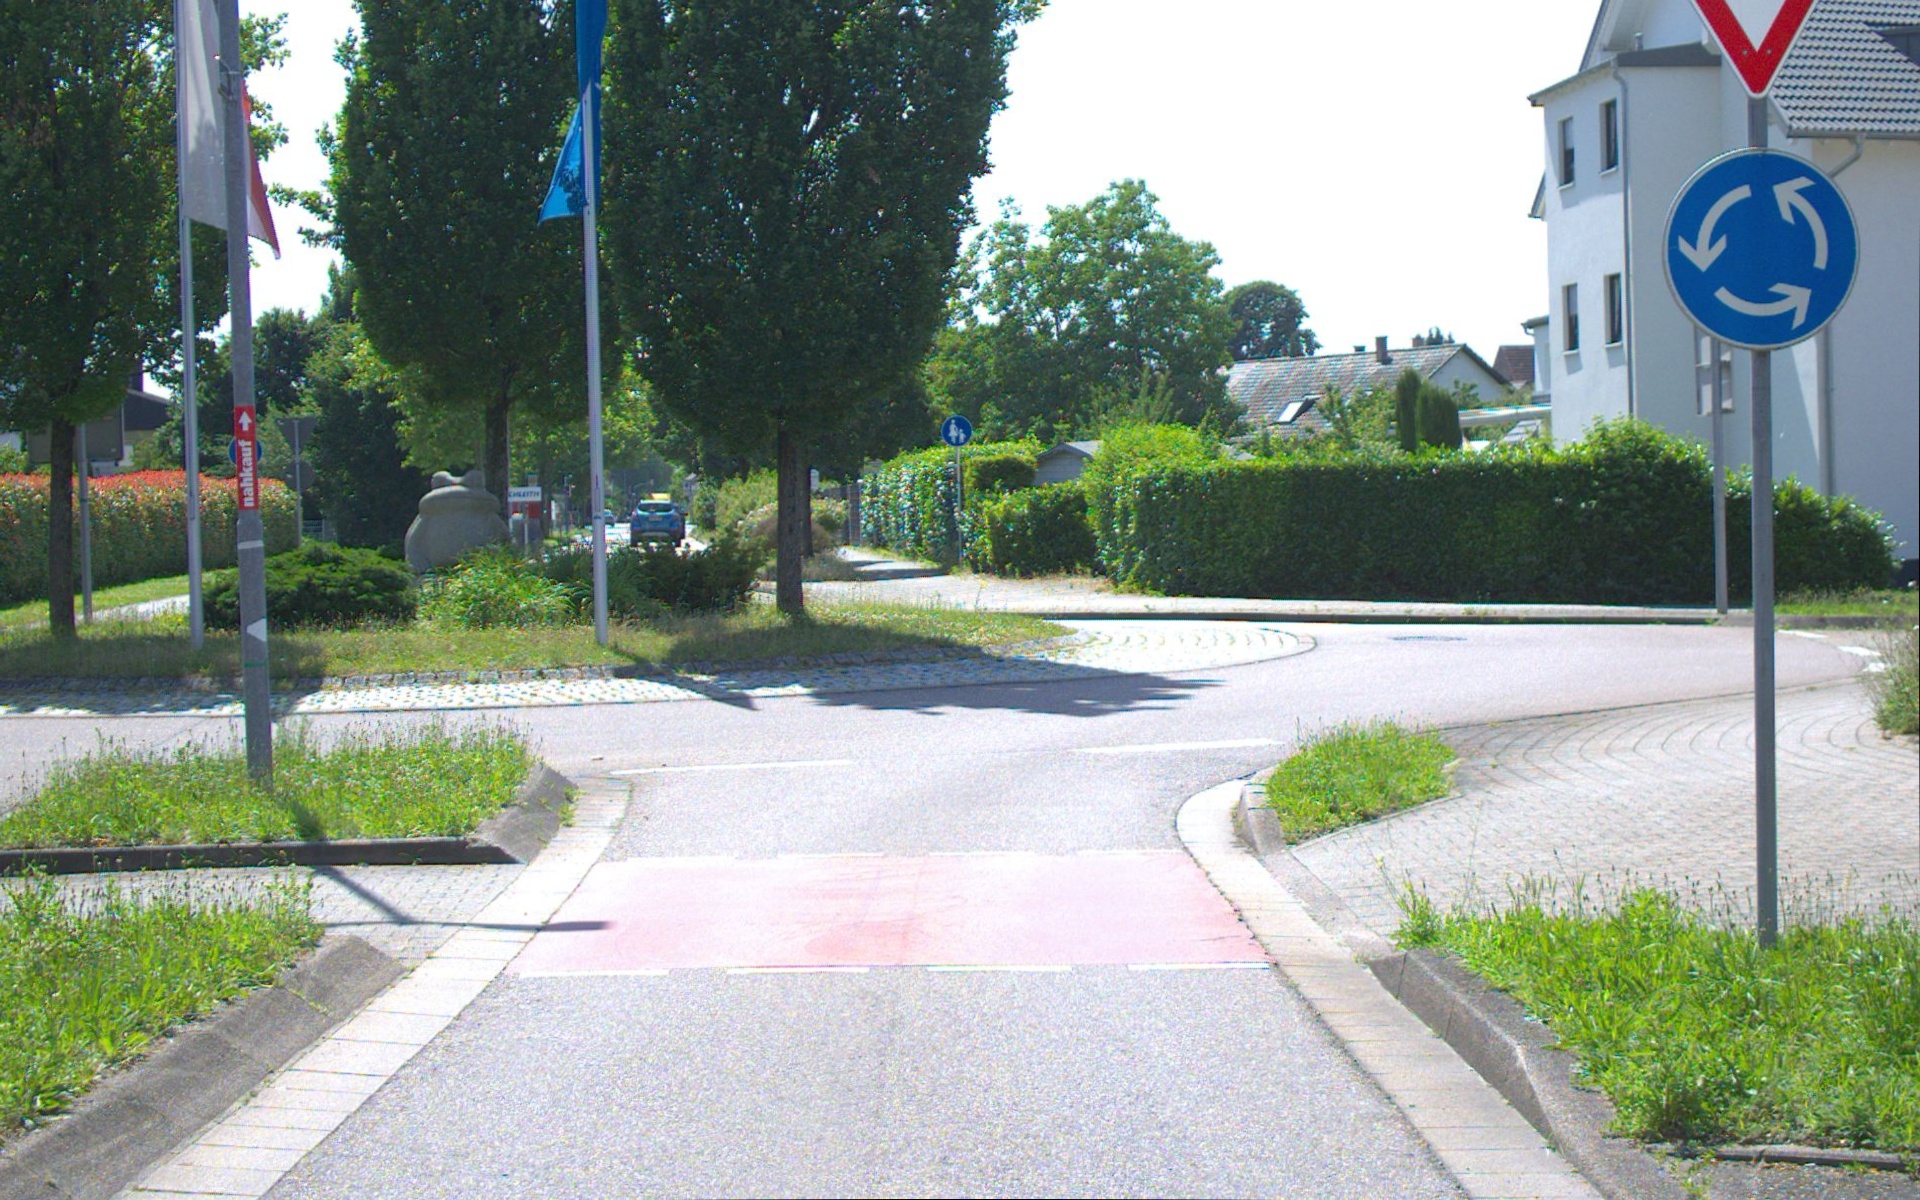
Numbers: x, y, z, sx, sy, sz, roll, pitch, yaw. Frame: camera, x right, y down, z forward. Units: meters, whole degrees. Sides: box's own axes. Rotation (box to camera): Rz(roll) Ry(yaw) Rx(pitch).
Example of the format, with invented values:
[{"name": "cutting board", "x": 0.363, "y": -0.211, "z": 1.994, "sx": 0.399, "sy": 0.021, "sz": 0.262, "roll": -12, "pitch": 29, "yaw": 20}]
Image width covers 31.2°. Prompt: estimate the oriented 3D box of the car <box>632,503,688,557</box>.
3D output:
[{"name": "car", "x": -10.510, "y": -2.441, "z": 120.361, "sx": 1.922, "sy": 1.879, "sz": 4.001, "roll": 0, "pitch": 1, "yaw": -5}]
